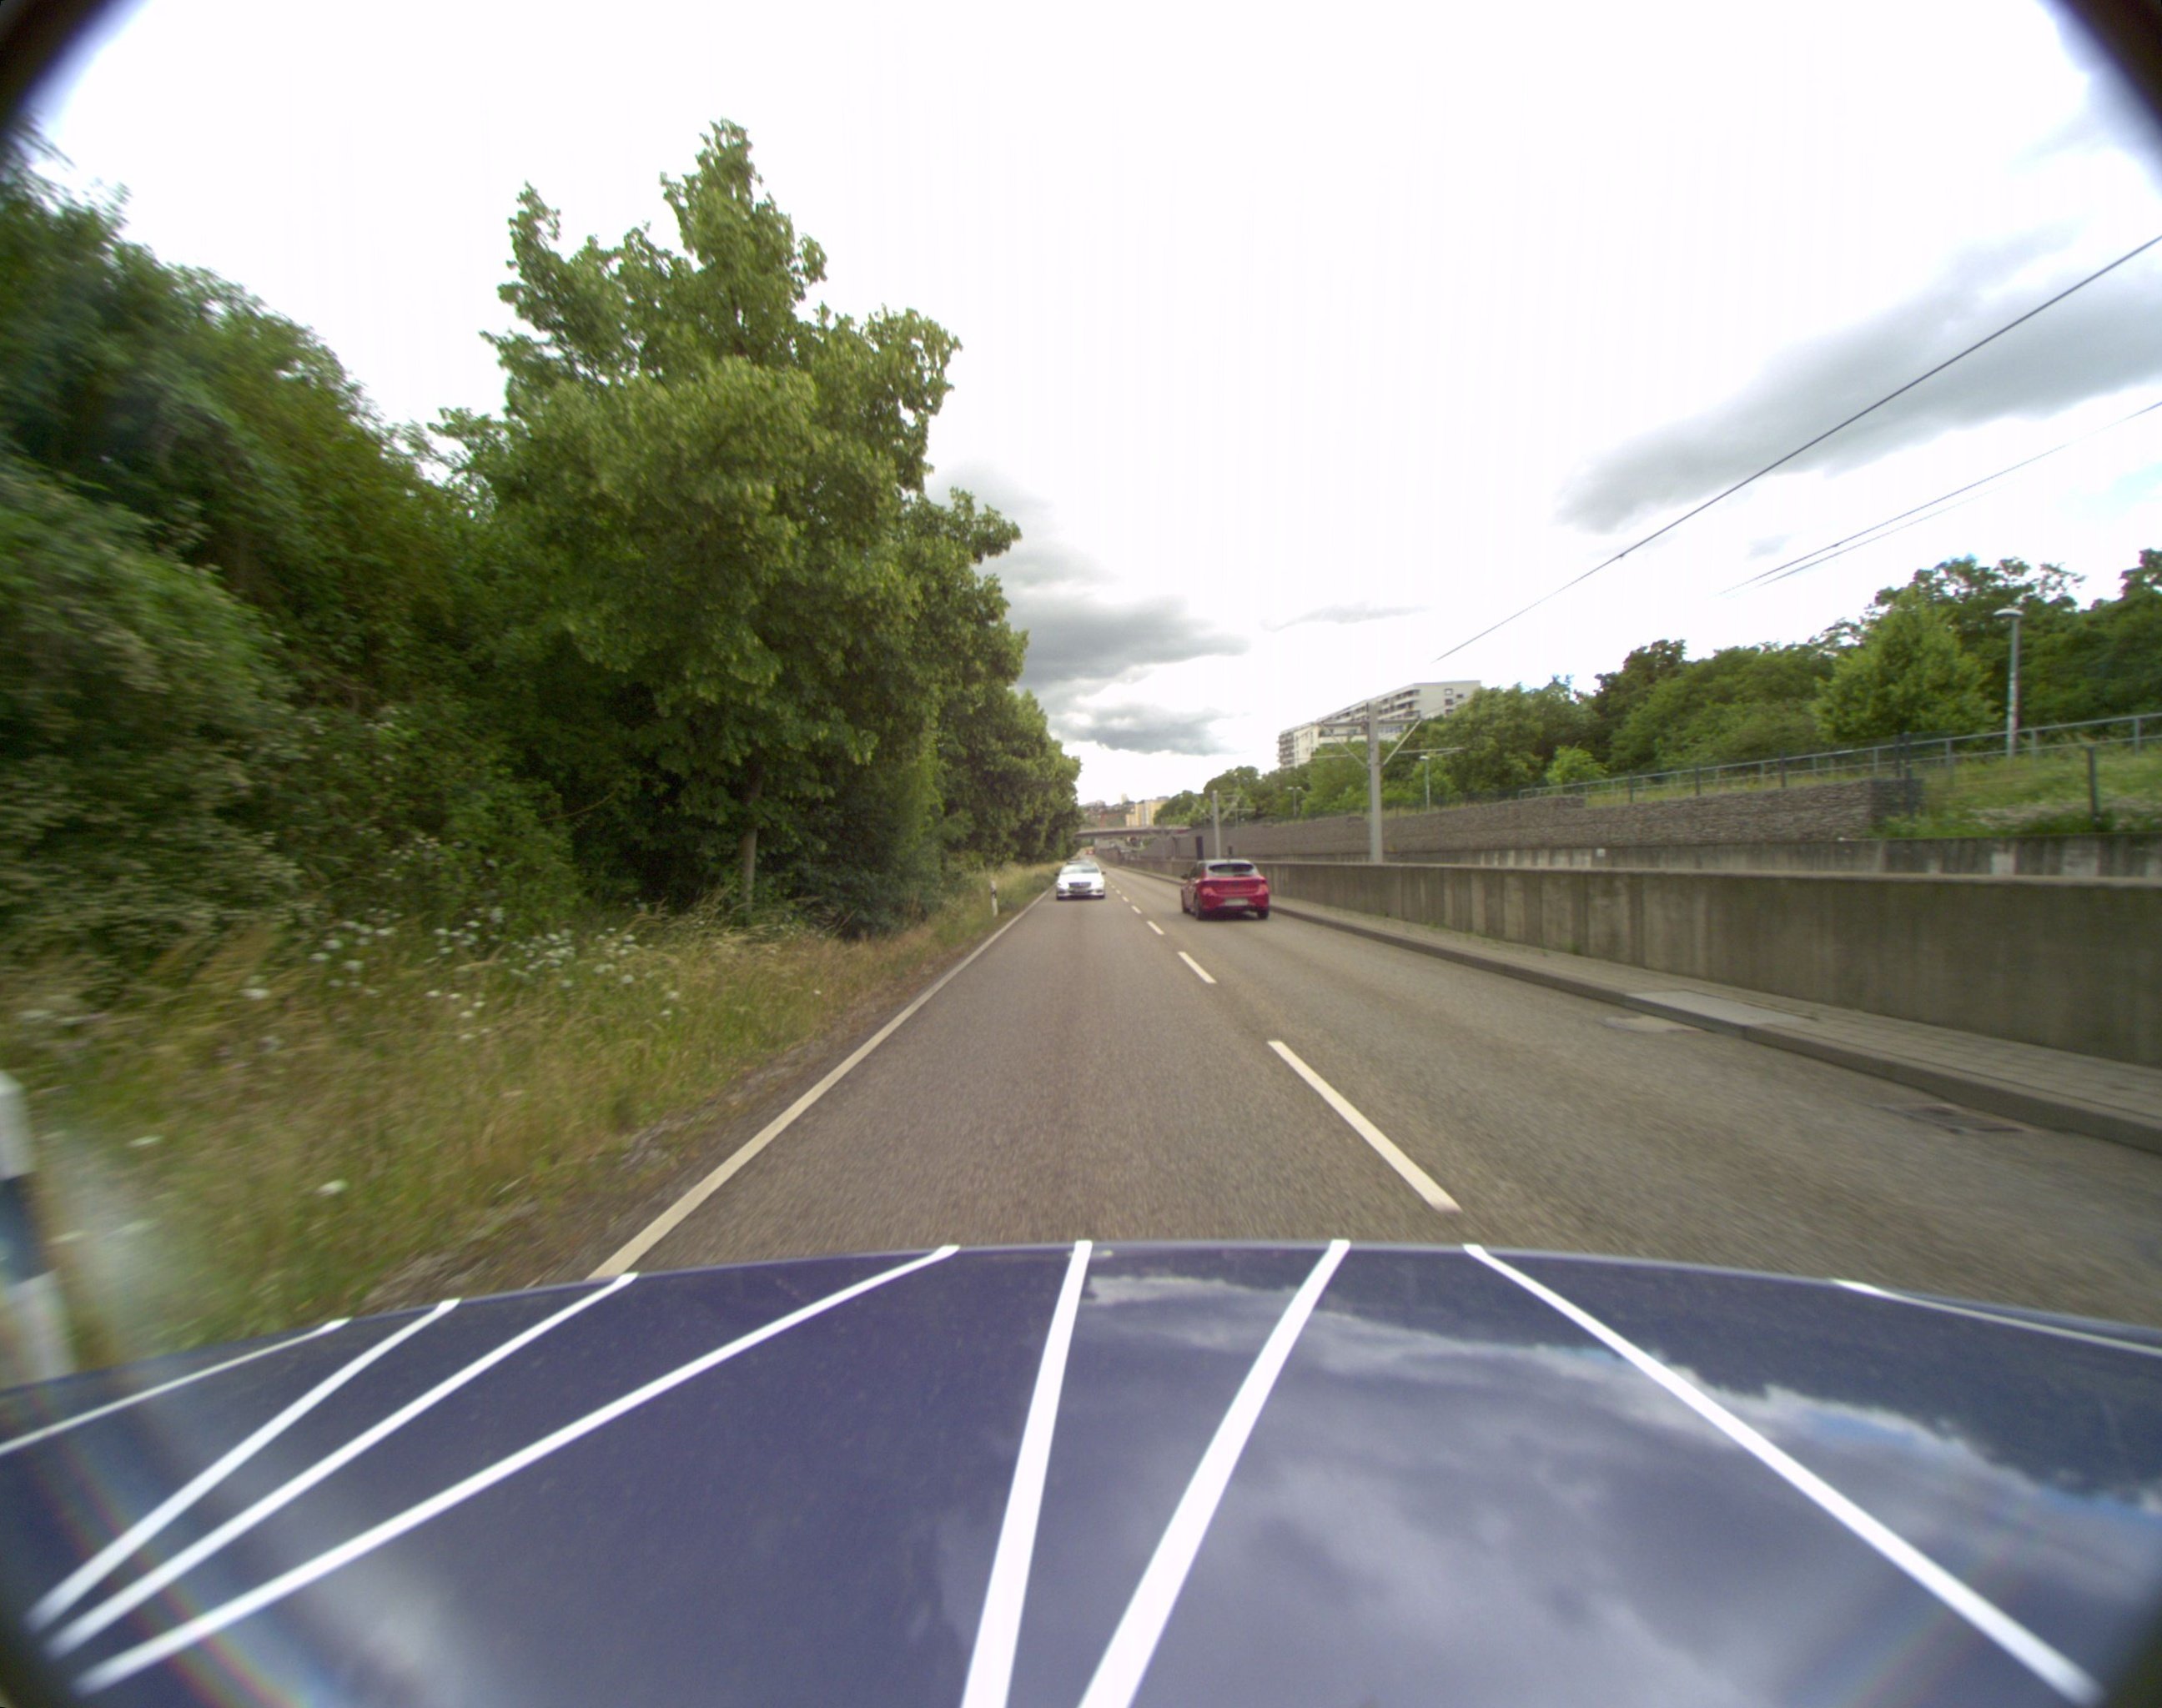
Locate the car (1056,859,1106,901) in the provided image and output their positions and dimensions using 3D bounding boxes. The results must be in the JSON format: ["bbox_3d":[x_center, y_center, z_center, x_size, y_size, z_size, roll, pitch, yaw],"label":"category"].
[{"bbox_3d":[0.026,0.997,30.711,1.842,1.499,4.161,-1,0,0],"label":"car"}]

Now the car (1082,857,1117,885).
[{"bbox_3d":[1.039,0.940,44.045,1.878,1.459,3.999,-2,1,0],"label":"car"}]

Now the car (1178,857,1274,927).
[{"bbox_3d":[3.571,0.878,19.379,1.667,1.536,3.952,-1,0,0],"label":"car"}]
